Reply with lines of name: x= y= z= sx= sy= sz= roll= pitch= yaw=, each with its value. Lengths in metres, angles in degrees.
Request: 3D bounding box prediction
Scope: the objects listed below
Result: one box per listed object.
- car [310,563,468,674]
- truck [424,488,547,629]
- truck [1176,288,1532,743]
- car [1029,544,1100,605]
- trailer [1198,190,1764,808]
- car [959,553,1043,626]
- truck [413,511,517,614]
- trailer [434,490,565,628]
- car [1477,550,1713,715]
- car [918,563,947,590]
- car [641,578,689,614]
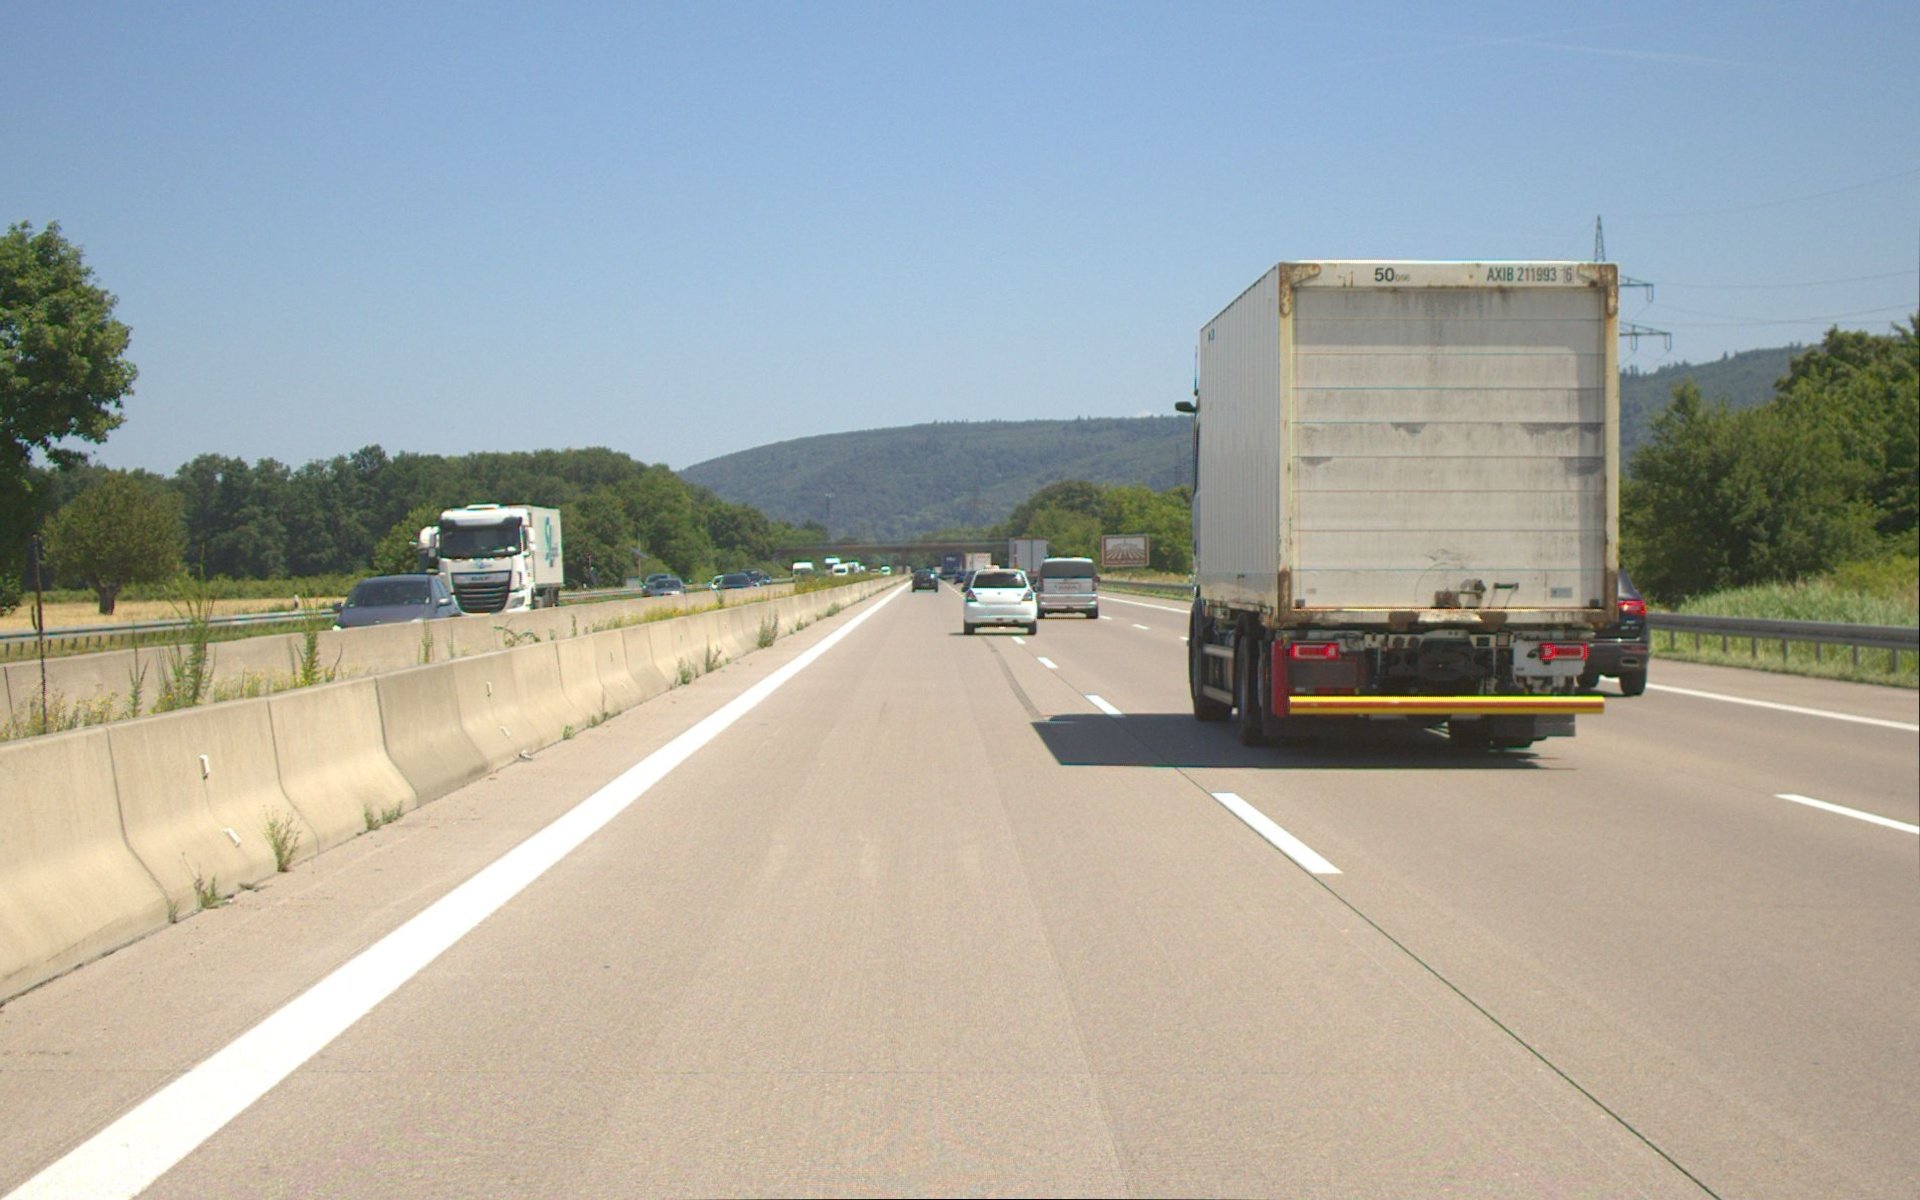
car: x=-9.295 y=0.263 z=56.260 sx=1.863 sy=1.723 sz=4.140 roll=1 pitch=1 yaw=0
truck: x=-13.722 y=-1.208 z=99.781 sx=2.900 sy=3.956 sz=5.046 roll=1 pitch=1 yaw=-1
truck: x=3.534 y=-0.753 z=31.938 sx=2.580 sy=3.864 sz=4.984 roll=1 pitch=1 yaw=-1
car: x=3.223 y=-0.800 z=106.879 sx=1.993 sy=1.842 sz=4.000 roll=1 pitch=1 yaw=-1
trailer: x=3.650 y=-0.694 z=26.881 sx=2.580 sy=3.864 sz=10.374 roll=1 pitch=1 yaw=-1
car: x=0.930 y=-0.259 z=80.201 sx=1.819 sy=1.656 sz=4.000 roll=0 pitch=1 yaw=-1
truck: x=-18.278 y=-1.390 z=127.278 sx=2.803 sy=3.675 sz=7.236 roll=1 pitch=1 yaw=0
trailer: x=-13.781 y=-1.230 z=103.504 sx=2.900 sy=3.956 sz=8.478 roll=1 pitch=1 yaw=-1
car: x=7.685 y=0.352 z=41.973 sx=1.993 sy=1.842 sz=4.000 roll=2 pitch=1 yaw=-1
car: x=-1.850 y=-1.581 z=230.916 sx=1.928 sy=1.788 sz=4.000 roll=1 pitch=1 yaw=-1
car: x=-14.926 y=-0.210 z=174.112 sx=1.993 sy=1.711 sz=5.025 roll=1 pitch=1 yaw=0
